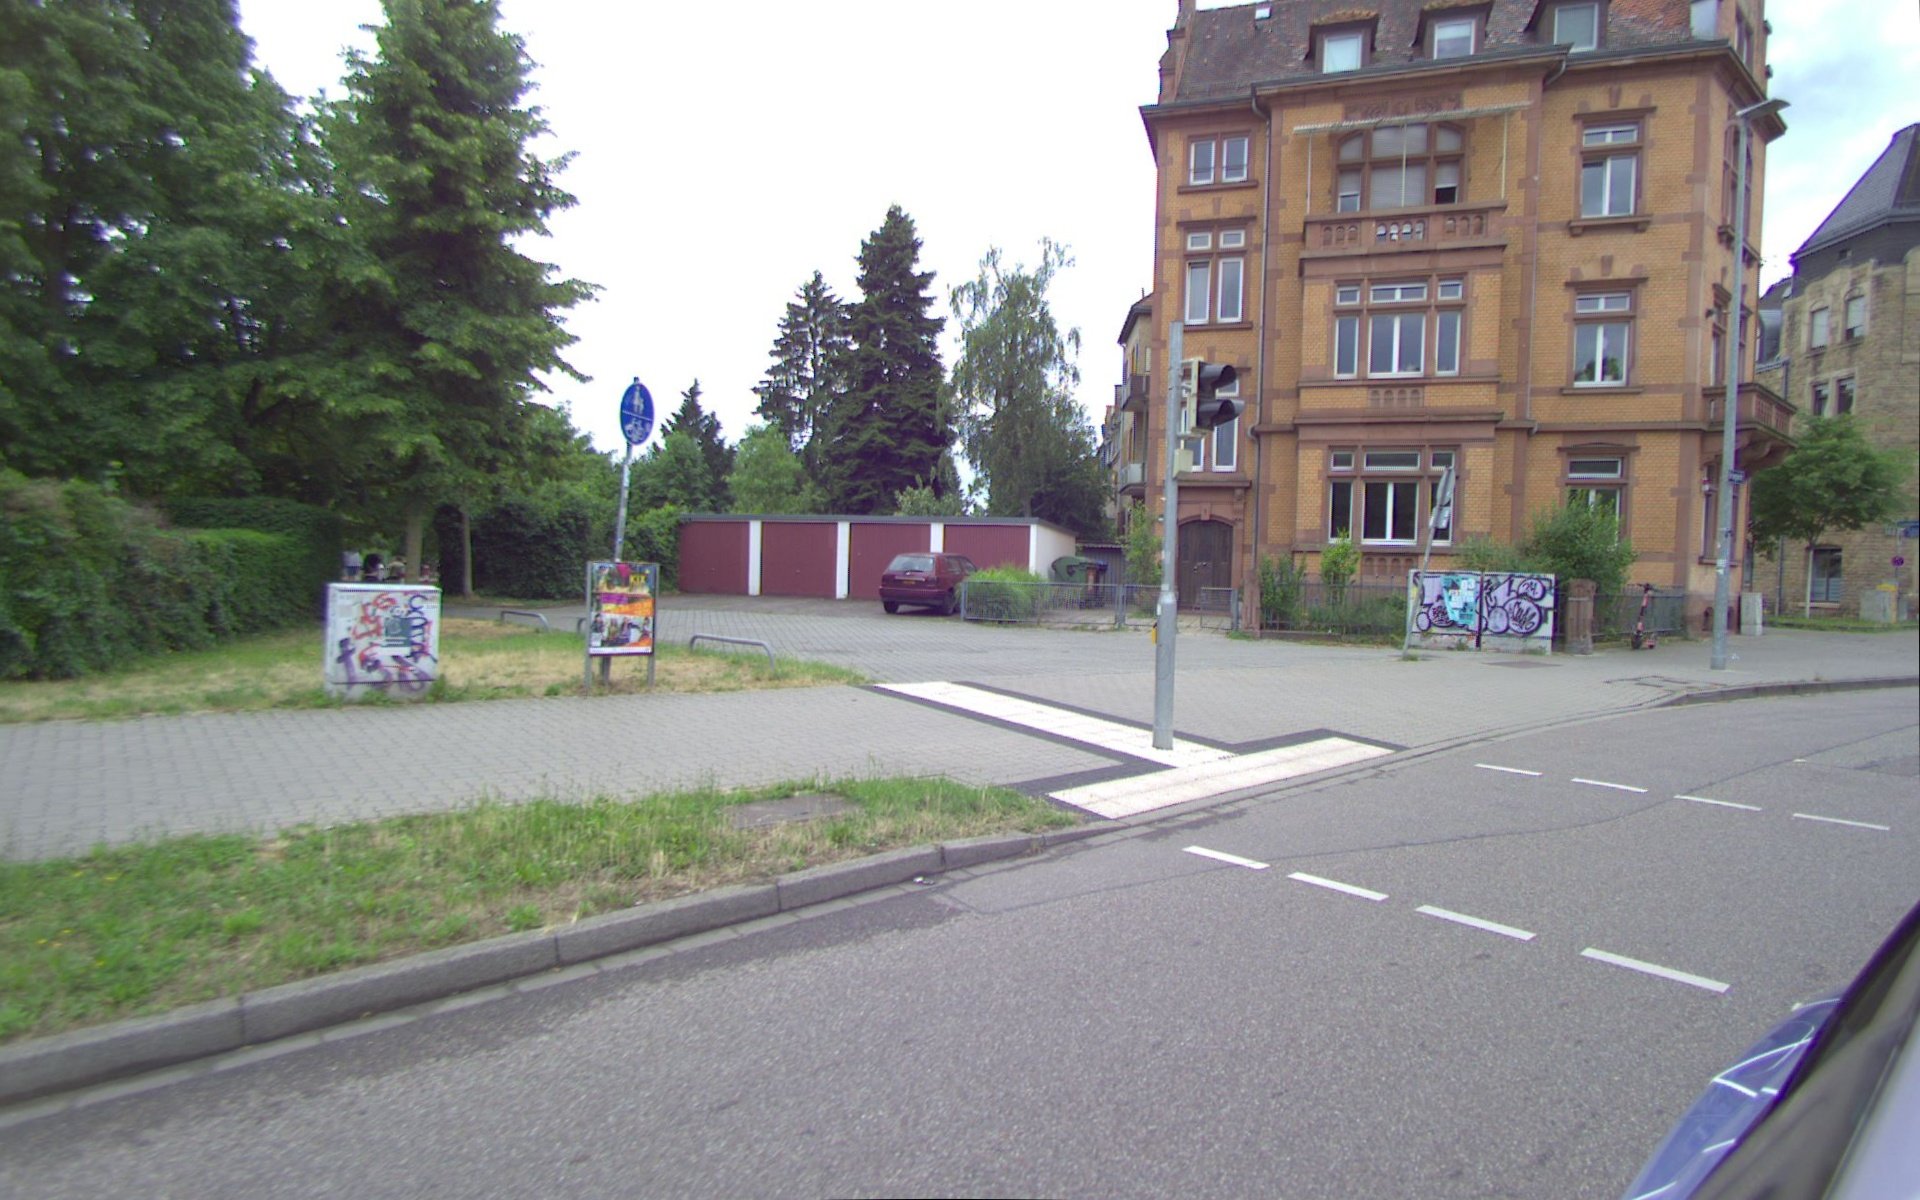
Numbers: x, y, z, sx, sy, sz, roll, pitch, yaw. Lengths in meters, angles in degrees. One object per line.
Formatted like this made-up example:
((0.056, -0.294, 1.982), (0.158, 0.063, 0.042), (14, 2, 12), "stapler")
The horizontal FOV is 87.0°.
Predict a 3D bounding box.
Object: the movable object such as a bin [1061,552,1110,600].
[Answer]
((3.848, -0.744, 30.975), (1.146, 1.407, 1.452), (2, 2, 22), "movable object such as a bin")

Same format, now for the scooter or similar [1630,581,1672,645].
((12.866, 0.226, 18.827), (1.180, 1.155, 0.376), (-1, 3, -44), "scooter or similar")

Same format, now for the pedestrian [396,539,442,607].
((-11.183, -0.560, 20.925), (0.616, 1.374, 0.591), (2, 2, 8), "pedestrian")

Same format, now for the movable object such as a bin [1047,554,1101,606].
((3.227, -0.590, 28.544), (1.146, 1.407, 1.452), (2, 2, 22), "movable object such as a bin")

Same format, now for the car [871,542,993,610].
((-0.597, -0.636, 24.117), (1.672, 1.469, 3.462), (2, 4, 22), "car")

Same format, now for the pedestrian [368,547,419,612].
((-10.805, -0.398, 19.297), (0.616, 1.197, 0.591), (2, 2, 8), "pedestrian")
